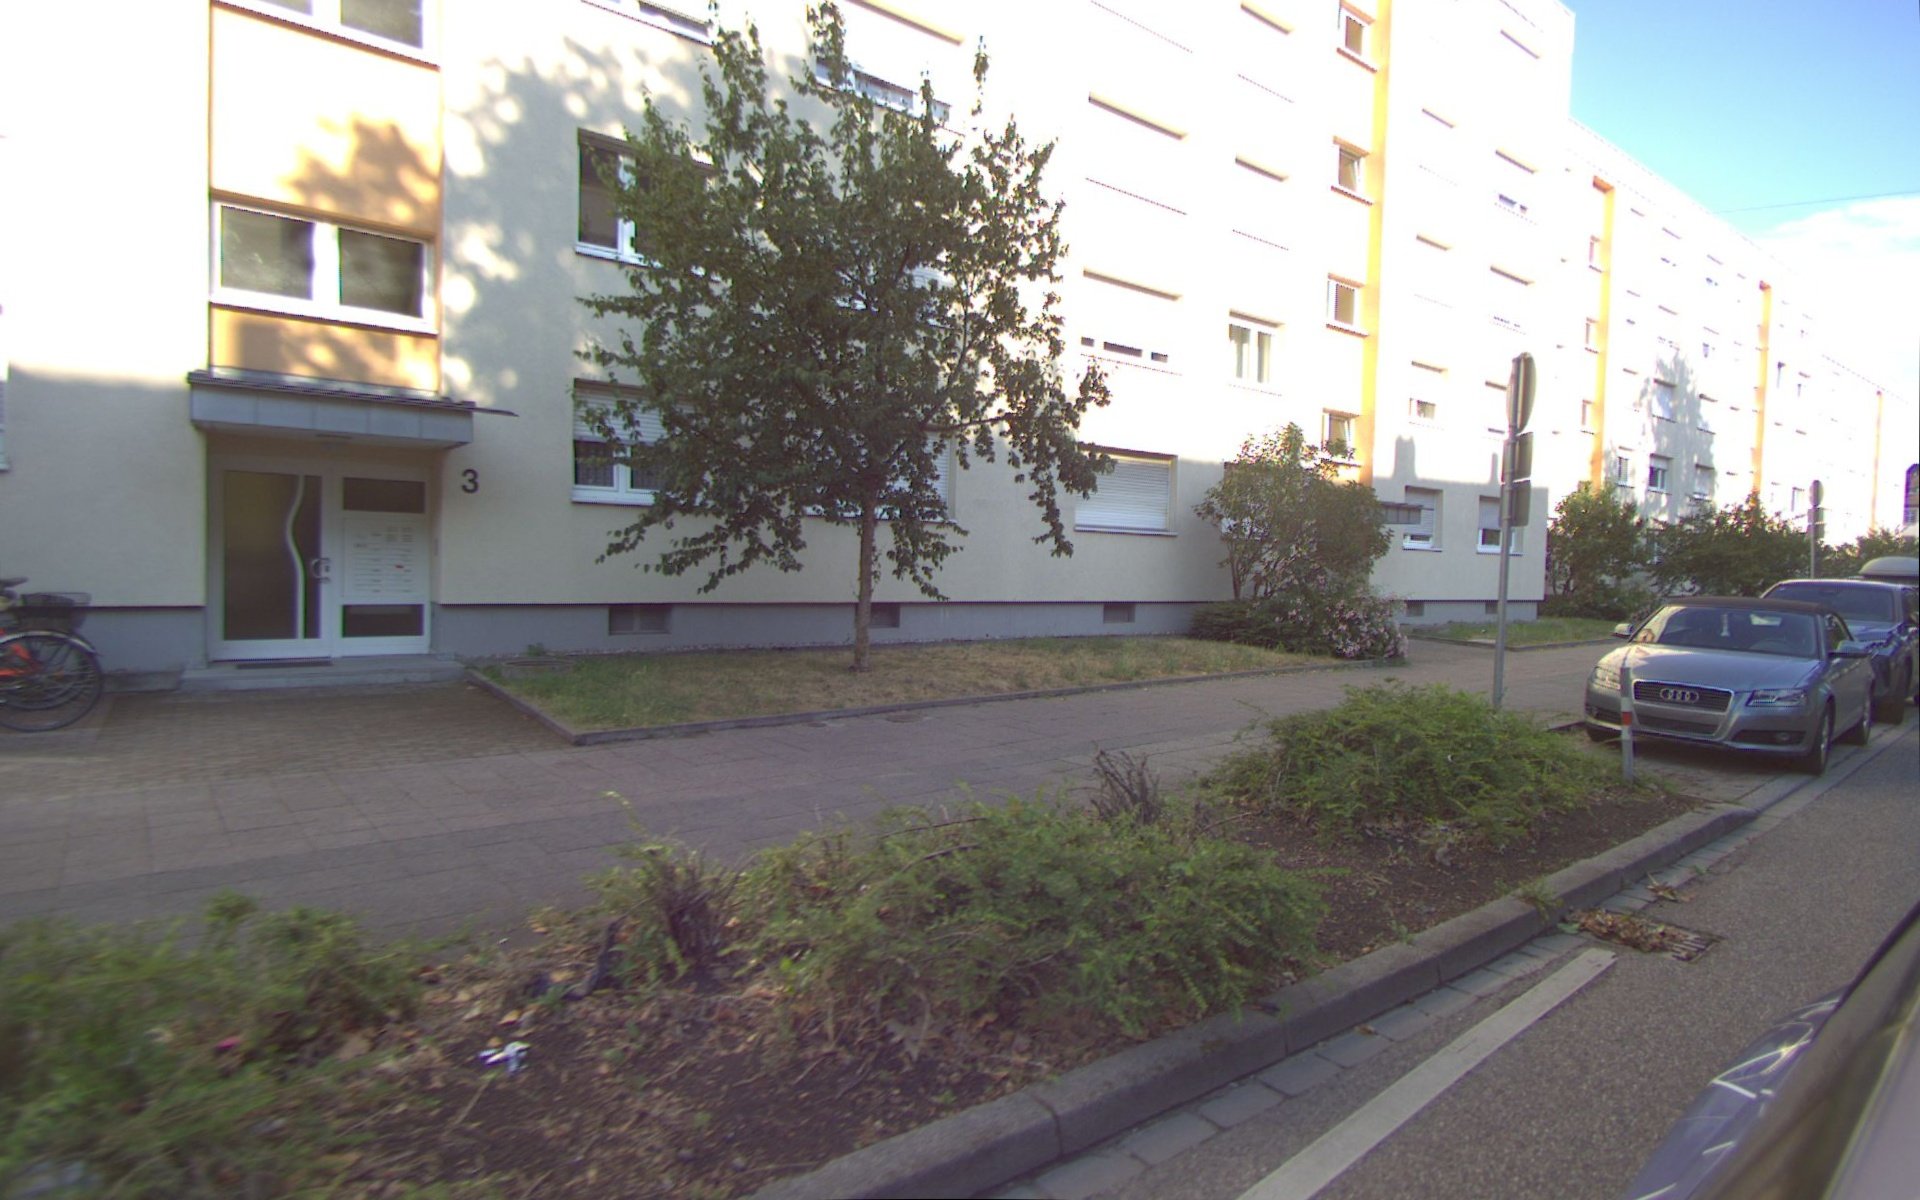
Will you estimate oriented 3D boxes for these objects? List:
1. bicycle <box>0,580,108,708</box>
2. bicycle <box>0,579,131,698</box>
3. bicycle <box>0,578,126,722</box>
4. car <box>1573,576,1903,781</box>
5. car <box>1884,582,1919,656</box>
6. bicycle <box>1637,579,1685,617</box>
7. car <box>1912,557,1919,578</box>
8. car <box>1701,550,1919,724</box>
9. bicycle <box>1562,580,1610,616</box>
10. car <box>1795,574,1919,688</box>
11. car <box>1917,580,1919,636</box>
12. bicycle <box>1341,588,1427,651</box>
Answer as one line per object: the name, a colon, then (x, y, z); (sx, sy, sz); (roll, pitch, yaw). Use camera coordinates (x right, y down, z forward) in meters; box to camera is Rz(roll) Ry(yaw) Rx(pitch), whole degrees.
bicycle: (-7.612, 0.307, 7.324); (2.190, 0.937, 0.637); (1, -1, -41)
bicycle: (-7.985, 0.297, 7.994); (2.190, 0.937, 0.637); (1, -1, -41)
bicycle: (-6.821, 0.316, 6.527); (2.190, 0.937, 0.637); (1, -1, -41)
car: (7.569, 0.560, 9.715); (3.931, 1.491, 1.744); (-2, 3, -41)
car: (21.956, 0.395, 22.526); (3.972, 1.512, 1.609); (-2, 3, -41)
bicycle: (21.125, -0.047, 30.480); (2.351, 1.095, 0.601); (1, 2, -41)
car: (85.196, -2.811, 87.547); (1.965, 1.816, 3.995); (-2, 1, -39)
car: (11.314, 0.300, 12.889); (4.597, 1.677, 1.932); (-2, 8, -41)
bicycle: (19.980, -0.063, 32.288); (2.351, 1.095, 0.601); (1, 2, -41)
car: (15.605, 0.454, 16.873); (4.267, 1.671, 1.901); (0, 2, -41)
car: (29.155, 0.248, 29.024); (4.683, 1.771, 2.028); (3, 1, -41)
bicycle: (7.511, 0.325, 17.909); (1.800, 1.034, 0.614); (-2, 1, -39)
